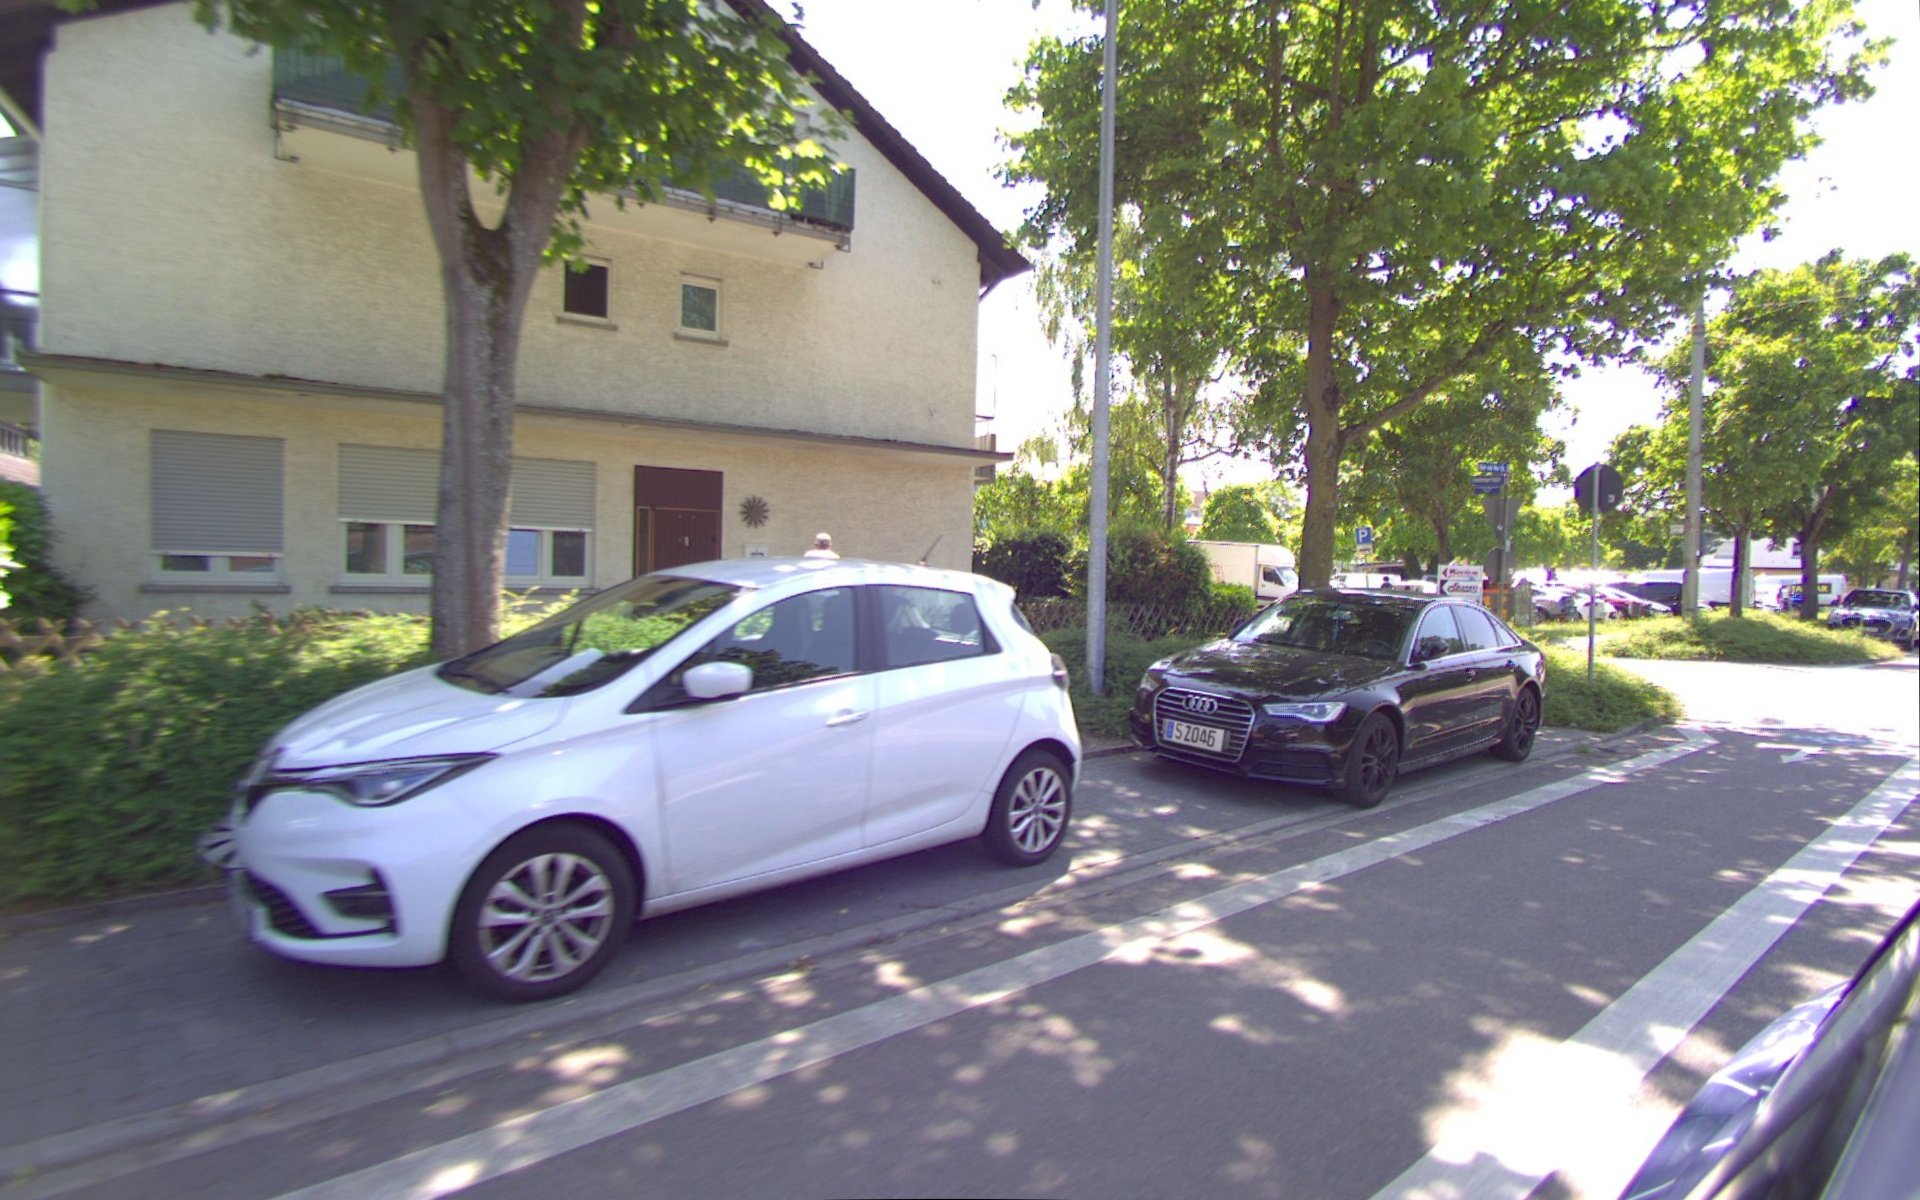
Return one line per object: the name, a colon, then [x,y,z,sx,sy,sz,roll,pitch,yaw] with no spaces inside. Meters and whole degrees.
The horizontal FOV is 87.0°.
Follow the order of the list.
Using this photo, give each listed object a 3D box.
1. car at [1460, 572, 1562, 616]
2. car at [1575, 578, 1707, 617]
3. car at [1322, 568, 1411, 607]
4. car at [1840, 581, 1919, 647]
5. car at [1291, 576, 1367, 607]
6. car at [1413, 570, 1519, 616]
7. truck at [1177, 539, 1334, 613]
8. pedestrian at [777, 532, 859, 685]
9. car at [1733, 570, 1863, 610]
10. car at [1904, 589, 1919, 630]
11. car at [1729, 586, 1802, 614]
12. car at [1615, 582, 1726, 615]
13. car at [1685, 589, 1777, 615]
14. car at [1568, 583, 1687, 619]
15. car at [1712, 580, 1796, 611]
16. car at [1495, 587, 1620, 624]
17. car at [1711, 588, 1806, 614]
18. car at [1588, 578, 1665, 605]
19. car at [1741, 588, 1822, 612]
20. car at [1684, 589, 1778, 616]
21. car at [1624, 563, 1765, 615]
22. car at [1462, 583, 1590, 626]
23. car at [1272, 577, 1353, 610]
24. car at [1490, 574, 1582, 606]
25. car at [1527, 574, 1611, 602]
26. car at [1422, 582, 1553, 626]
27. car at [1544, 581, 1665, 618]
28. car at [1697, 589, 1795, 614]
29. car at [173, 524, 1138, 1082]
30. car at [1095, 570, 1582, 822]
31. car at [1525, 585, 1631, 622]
car: [36.386,-0.434,66.968,2.057,2.489,5.506,0,4,-39]
car: [31.282,-0.122,46.574,1.919,1.665,4.702,0,0,-39]
car: [21.807,-0.704,54.408,1.724,1.829,4.005,0,4,-43]
car: [26.949,0.335,29.130,4.626,1.652,1.716,-1,5,-41]
car: [19.505,-0.466,53.601,1.651,1.445,3.345,0,4,-38]
car: [31.674,-0.480,63.469,2.057,2.489,5.506,0,4,-39]
truck: [13.980,-1.232,48.381,2.382,3.122,6.963,0,4,-41]
pedestrian: [-1.691,0.084,12.030,0.747,1.743,0.623,2,1,43]
car: [55.579,-0.651,67.274,2.221,2.561,6.358,0,0,-37]
car: [35.894,0.395,36.901,4.628,1.435,1.715,0,4,-43]
car: [51.217,-0.025,64.392,1.697,1.739,3.378,0,0,-40]
car: [33.506,-0.082,47.801,1.739,1.509,4.027,0,0,-41]
car: [43.263,0.090,56.819,1.698,1.424,3.891,0,0,-42]
car: [29.205,0.022,44.360,1.739,1.509,4.027,0,0,-41]
car: [47.551,-0.264,60.663,1.922,1.807,3.781,0,0,-44]
car: [23.324,0.208,39.596,1.738,1.375,3.868,0,0,-39]
car: [49.295,0.063,62.545,1.921,1.524,4.410,0,0,-43]
car: [55.176,-0.745,83.901,1.875,1.923,4.929,0,4,-40]
car: [53.256,0.001,65.686,1.698,1.490,3.891,0,0,-42]
car: [41.867,0.121,55.013,1.699,1.424,3.888,0,0,-44]
car: [37.242,-0.540,51.449,2.057,2.490,5.502,0,0,-39]
car: [21.134,0.142,37.867,1.740,1.508,3.865,0,0,-42]
car: [17.905,-0.360,51.508,1.651,1.445,3.476,0,4,-38]
car: [39.975,-0.721,70.368,2.057,1.899,5.111,0,4,-39]
car: [46.913,-0.939,78.056,2.057,1.773,5.168,0,4,-39]
car: [19.086,0.145,36.713,1.740,1.508,3.865,0,0,-42]
car: [27.250,-0.020,42.867,1.739,1.509,4.027,0,0,-41]
car: [45.364,0.074,58.473,1.698,1.424,4.281,0,0,-42]
car: [-1.156,0.532,4.976,4.135,1.547,1.844,0,5,-43]
car: [3.404,0.573,8.534,4.742,1.453,1.844,0,5,-43]
car: [25.291,0.136,41.481,1.652,1.446,3.342,0,0,-39]
